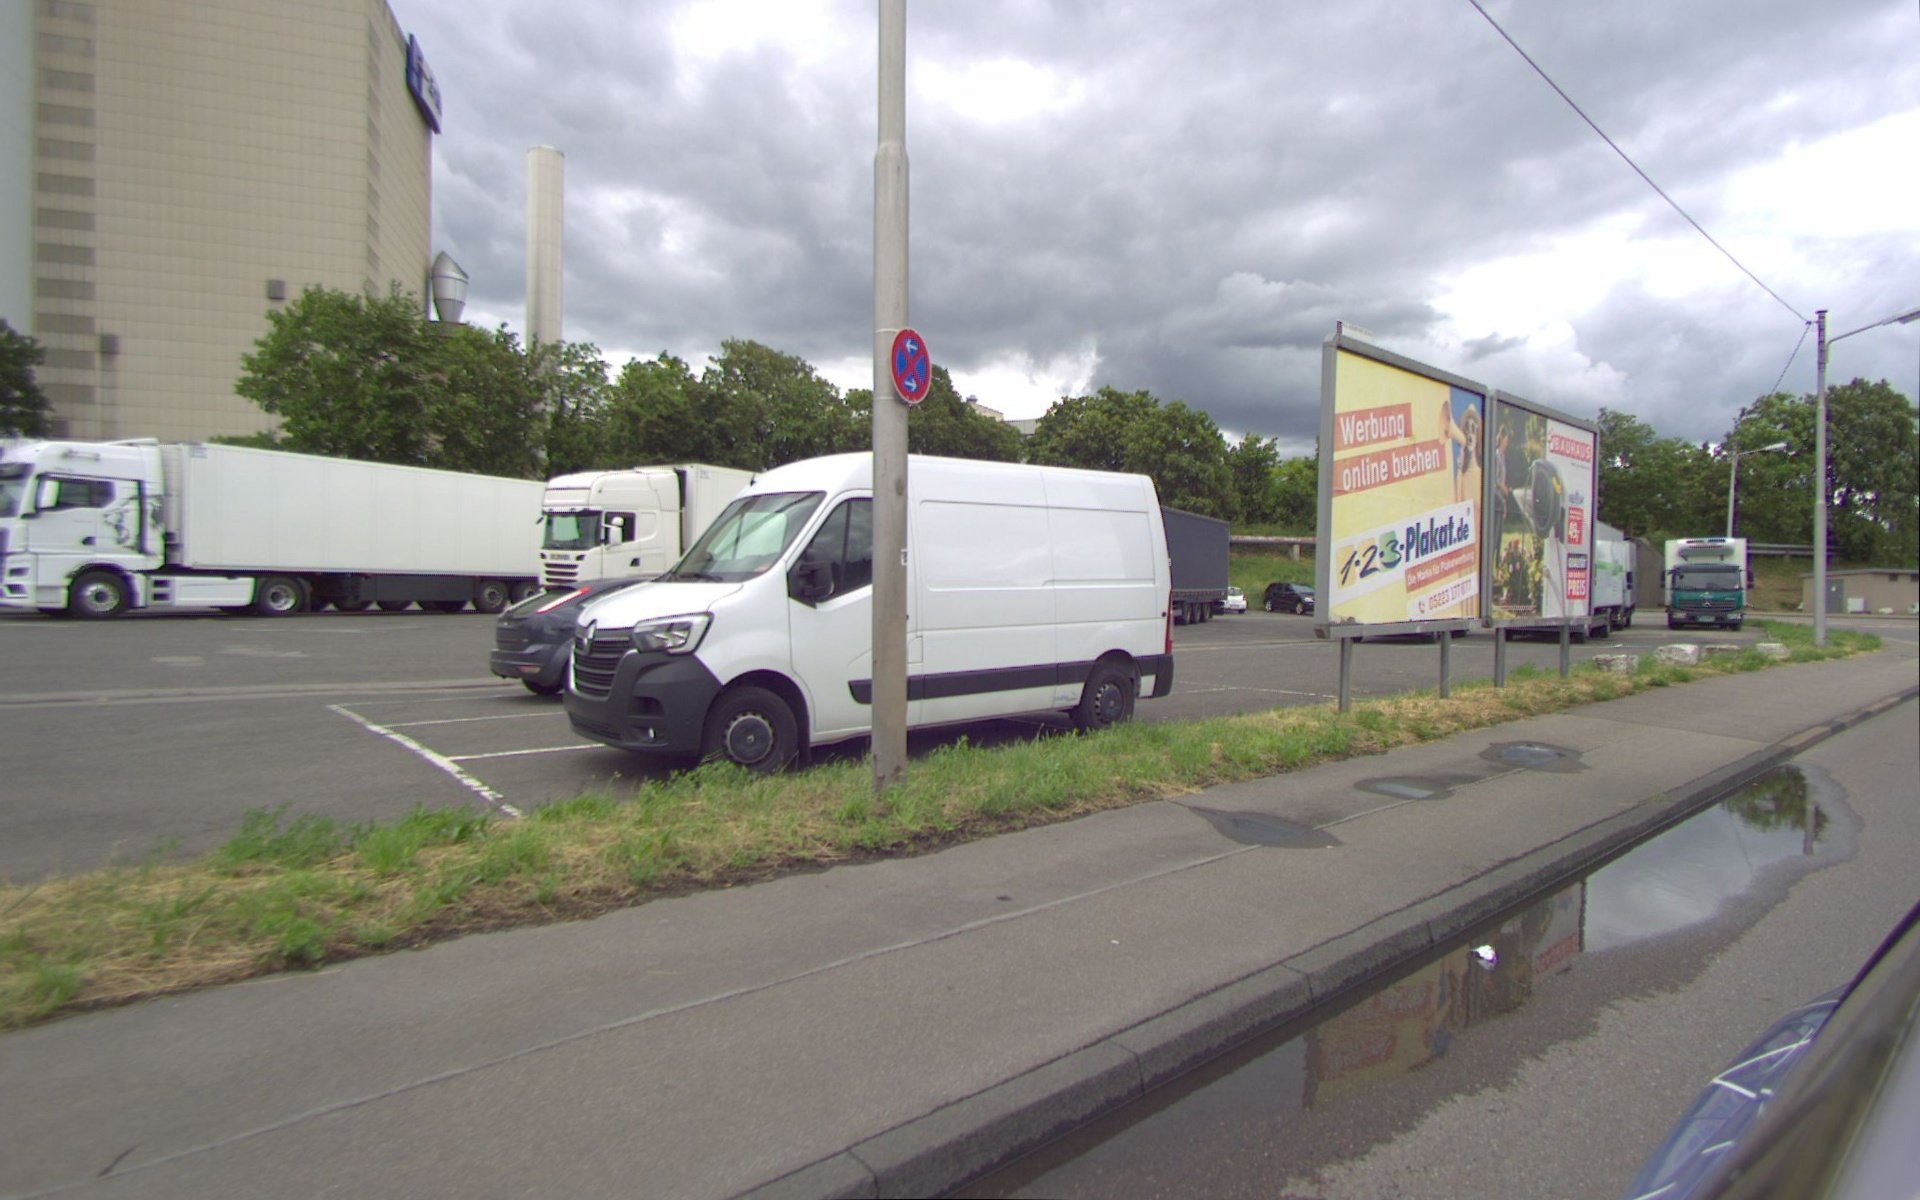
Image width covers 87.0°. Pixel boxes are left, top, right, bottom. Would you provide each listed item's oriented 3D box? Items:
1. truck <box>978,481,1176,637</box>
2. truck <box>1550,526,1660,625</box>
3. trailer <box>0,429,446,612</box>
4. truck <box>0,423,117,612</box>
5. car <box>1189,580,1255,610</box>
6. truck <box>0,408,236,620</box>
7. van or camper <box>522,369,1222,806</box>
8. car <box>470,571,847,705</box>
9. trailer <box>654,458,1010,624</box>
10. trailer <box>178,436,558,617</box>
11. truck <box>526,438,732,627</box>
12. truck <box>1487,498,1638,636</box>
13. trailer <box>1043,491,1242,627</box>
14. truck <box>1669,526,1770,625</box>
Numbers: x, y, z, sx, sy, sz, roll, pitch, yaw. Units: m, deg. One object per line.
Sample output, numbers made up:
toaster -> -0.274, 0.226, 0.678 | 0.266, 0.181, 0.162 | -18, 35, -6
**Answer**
truck -> 3.806, -1.240, 30.549 | 3.046, 4.050, 7.957 | 4, 3, 29
truck -> 27.175, -0.987, 42.443 | 3.055, 3.677, 8.489 | -2, 0, 38
trailer -> -20.067, -1.899, 28.573 | 2.745, 4.243, 10.030 | 2, 1, 30
truck -> -23.108, -1.897, 23.173 | 2.764, 4.268, 5.184 | 2, 1, 29
car -> 14.572, -0.320, 56.475 | 1.830, 1.526, 4.009 | 0, 2, -14
truck -> -19.358, -1.783, 22.893 | 2.768, 4.268, 4.106 | 2, 1, 33
van or camper -> -0.426, -0.135, 9.014 | 6.005, 2.680, 2.261 | 0, 2, -40
car -> -3.829, 0.397, 13.210 | 4.347, 1.463, 1.894 | -1, 0, -38
trailer -> -3.257, -1.576, 32.038 | 2.691, 4.231, 13.310 | 2, 1, 36
trailer -> -15.966, -1.773, 28.234 | 2.748, 4.243, 8.835 | 2, 1, 32
truck -> -8.197, -1.550, 25.278 | 2.693, 4.265, 4.023 | 2, 1, 37
truck -> 20.073, -0.931, 33.354 | 2.973, 3.879, 10.289 | 0, 0, 38
trailer -> 7.095, -1.348, 36.580 | 3.037, 4.026, 12.971 | 3, 2, 28
truck -> 31.126, -1.012, 41.746 | 3.053, 3.676, 8.496 | 0, 1, 35
